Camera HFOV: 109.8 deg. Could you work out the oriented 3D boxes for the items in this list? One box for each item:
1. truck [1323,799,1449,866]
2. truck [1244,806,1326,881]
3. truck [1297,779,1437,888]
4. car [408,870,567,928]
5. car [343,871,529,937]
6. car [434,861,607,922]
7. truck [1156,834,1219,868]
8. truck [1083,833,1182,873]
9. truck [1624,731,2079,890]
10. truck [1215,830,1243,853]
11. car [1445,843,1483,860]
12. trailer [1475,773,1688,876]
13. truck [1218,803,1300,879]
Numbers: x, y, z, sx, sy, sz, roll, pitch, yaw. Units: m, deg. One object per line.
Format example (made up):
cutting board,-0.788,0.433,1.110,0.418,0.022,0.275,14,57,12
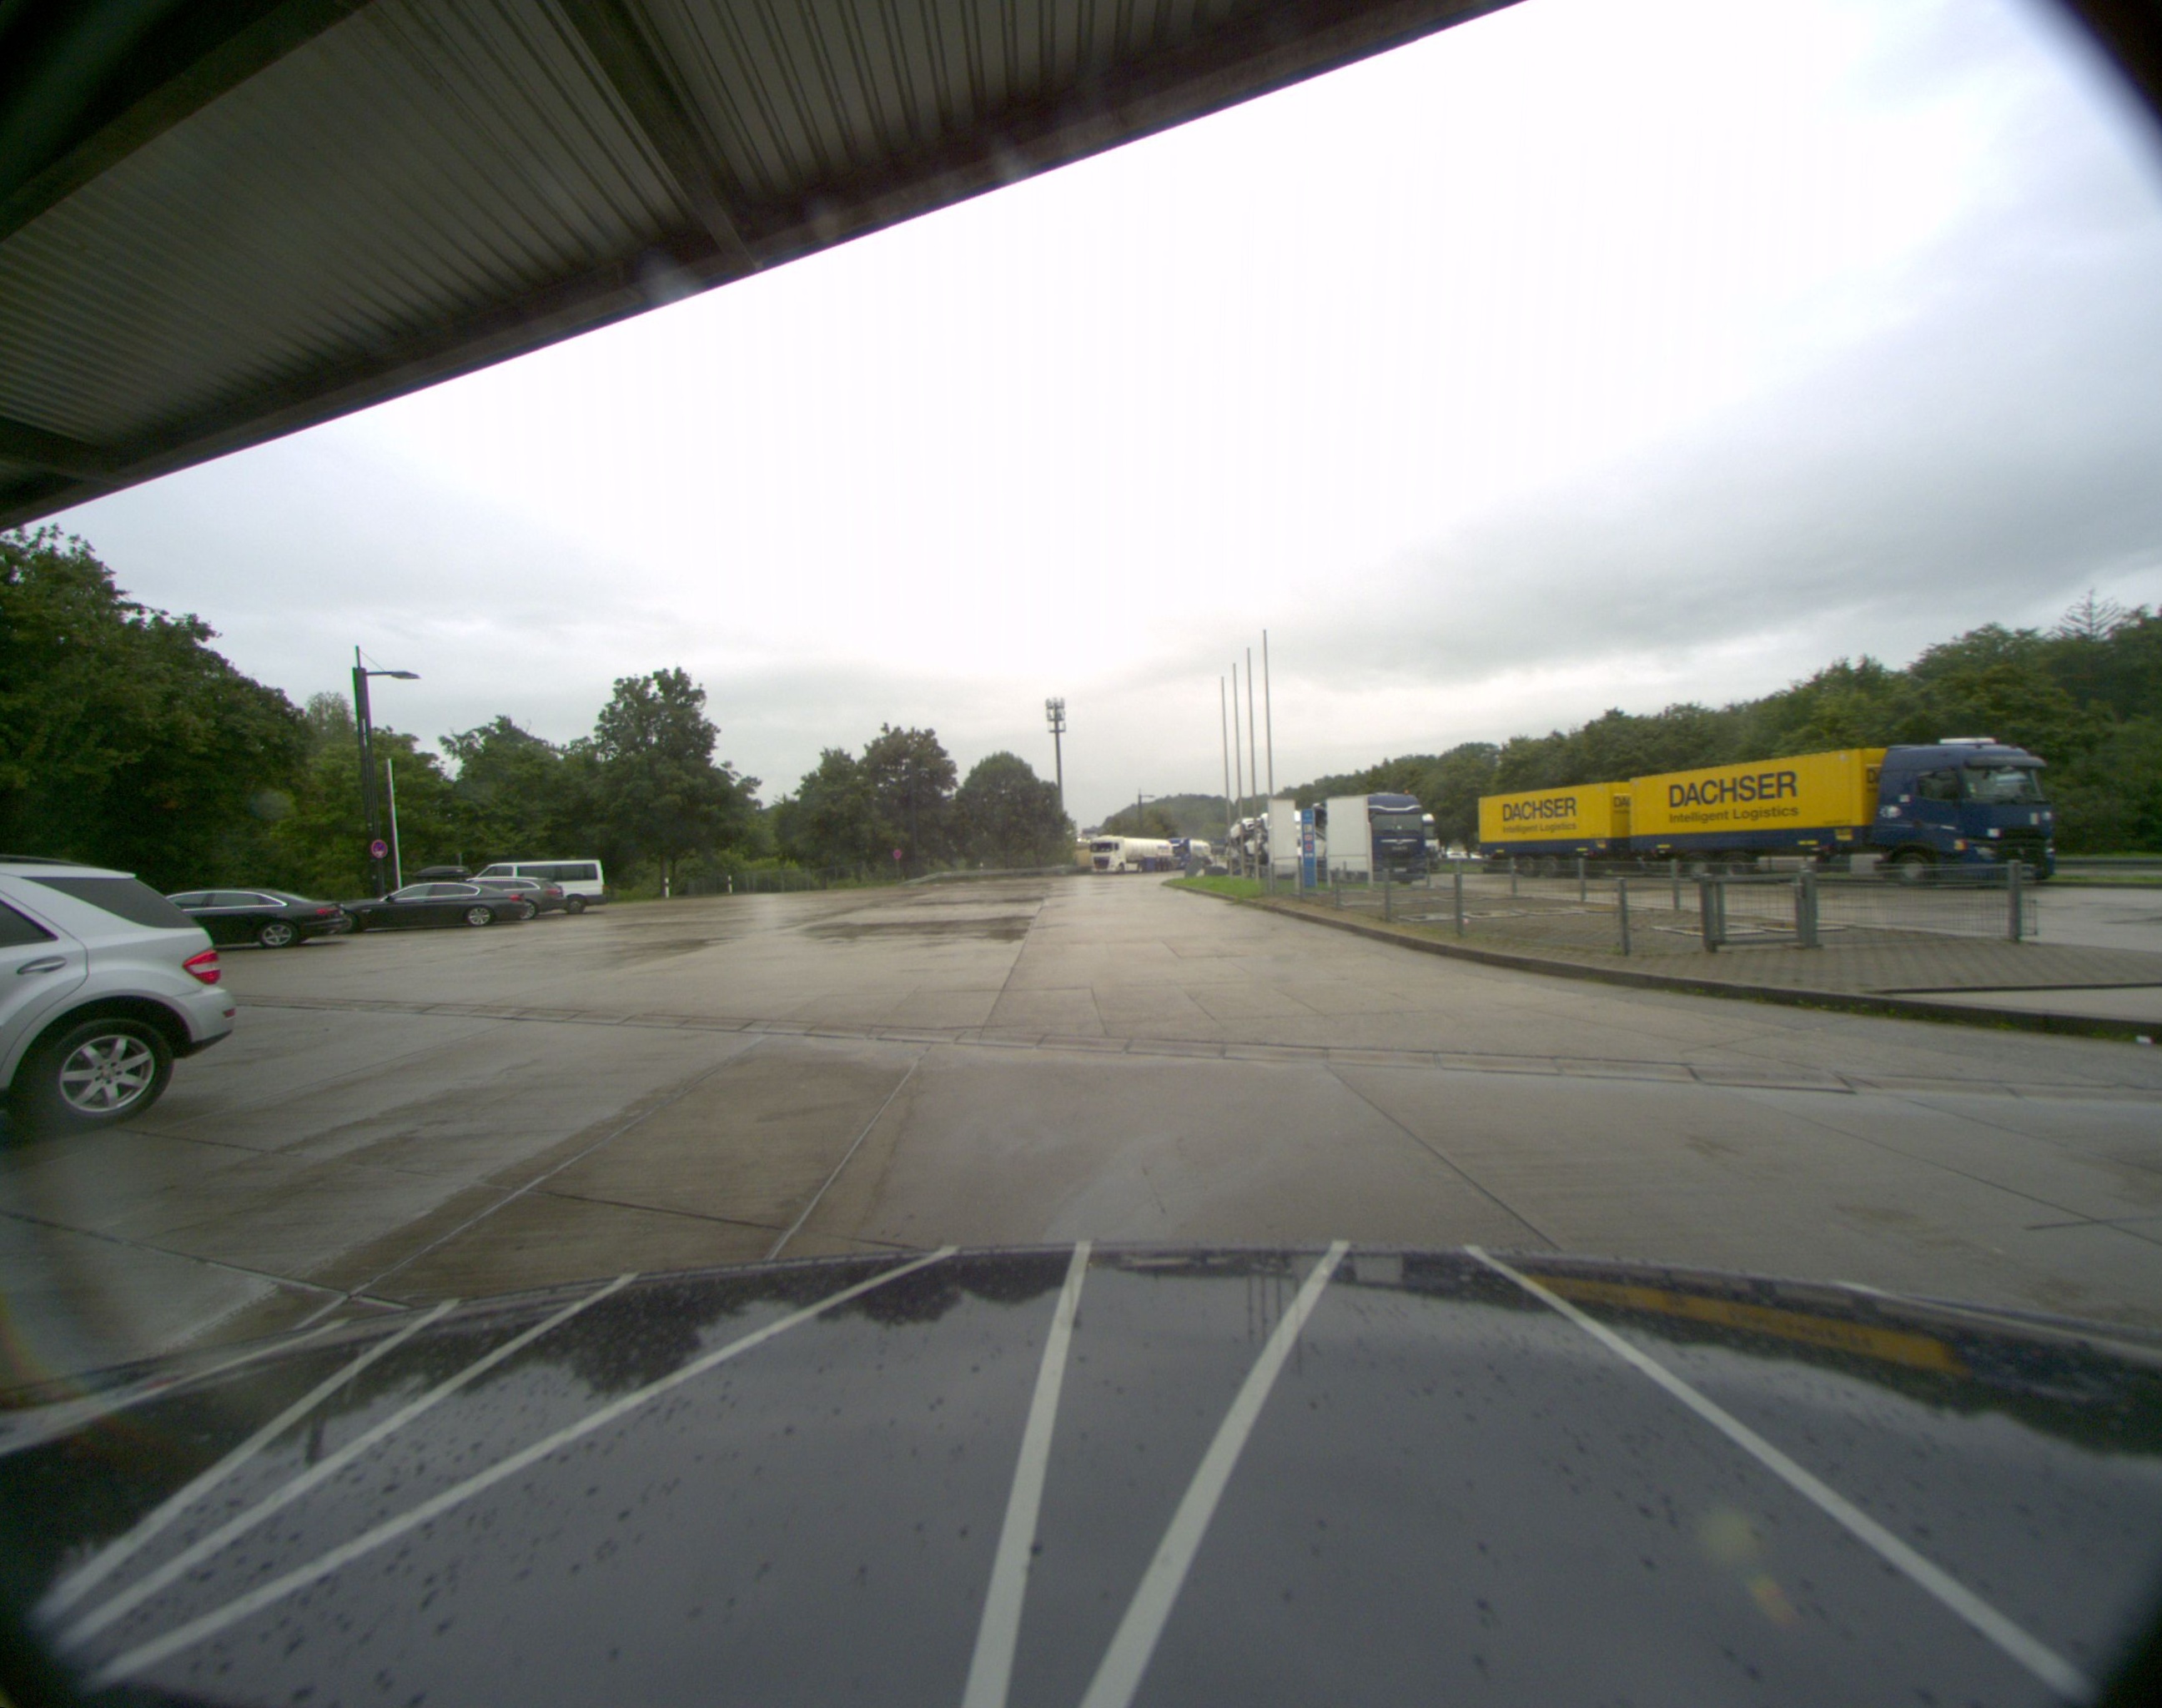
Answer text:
truck,19.879,-1.300,50.556,2.757,3.894,10.678,-2,1,-8
truck,11.043,-0.558,41.575,2.665,3.750,4.747,-2,1,-6
truck,12.181,-0.796,33.168,2.665,4.157,7.103,-2,1,-6
car,-19.474,1.430,25.146,4.007,1.650,1.596,-2,0,-35
car,-18.879,1.397,22.494,4.007,1.650,1.596,-2,0,-35
car,-20.430,1.291,27.982,4.898,1.938,2.310,-2,0,-35
truck,12.777,-0.408,89.677,3.506,3.584,14.685,-2,0,23
truck,5.450,-0.164,75.196,3.505,3.584,14.426,-2,0,31
truck,23.151,-1.127,24.315,2.757,3.894,10.678,-2,1,-8
truck,33.899,-2.768,175.011,3.145,5.092,11.515,-2,1,-5
car,45.908,-0.326,91.163,1.730,1.879,4.367,-2,1,-10
trailer,21.789,-1.184,33.936,2.757,3.894,8.700,-2,1,-9
truck,10.567,-0.727,45.766,2.665,4.157,6.618,-2,1,-6
